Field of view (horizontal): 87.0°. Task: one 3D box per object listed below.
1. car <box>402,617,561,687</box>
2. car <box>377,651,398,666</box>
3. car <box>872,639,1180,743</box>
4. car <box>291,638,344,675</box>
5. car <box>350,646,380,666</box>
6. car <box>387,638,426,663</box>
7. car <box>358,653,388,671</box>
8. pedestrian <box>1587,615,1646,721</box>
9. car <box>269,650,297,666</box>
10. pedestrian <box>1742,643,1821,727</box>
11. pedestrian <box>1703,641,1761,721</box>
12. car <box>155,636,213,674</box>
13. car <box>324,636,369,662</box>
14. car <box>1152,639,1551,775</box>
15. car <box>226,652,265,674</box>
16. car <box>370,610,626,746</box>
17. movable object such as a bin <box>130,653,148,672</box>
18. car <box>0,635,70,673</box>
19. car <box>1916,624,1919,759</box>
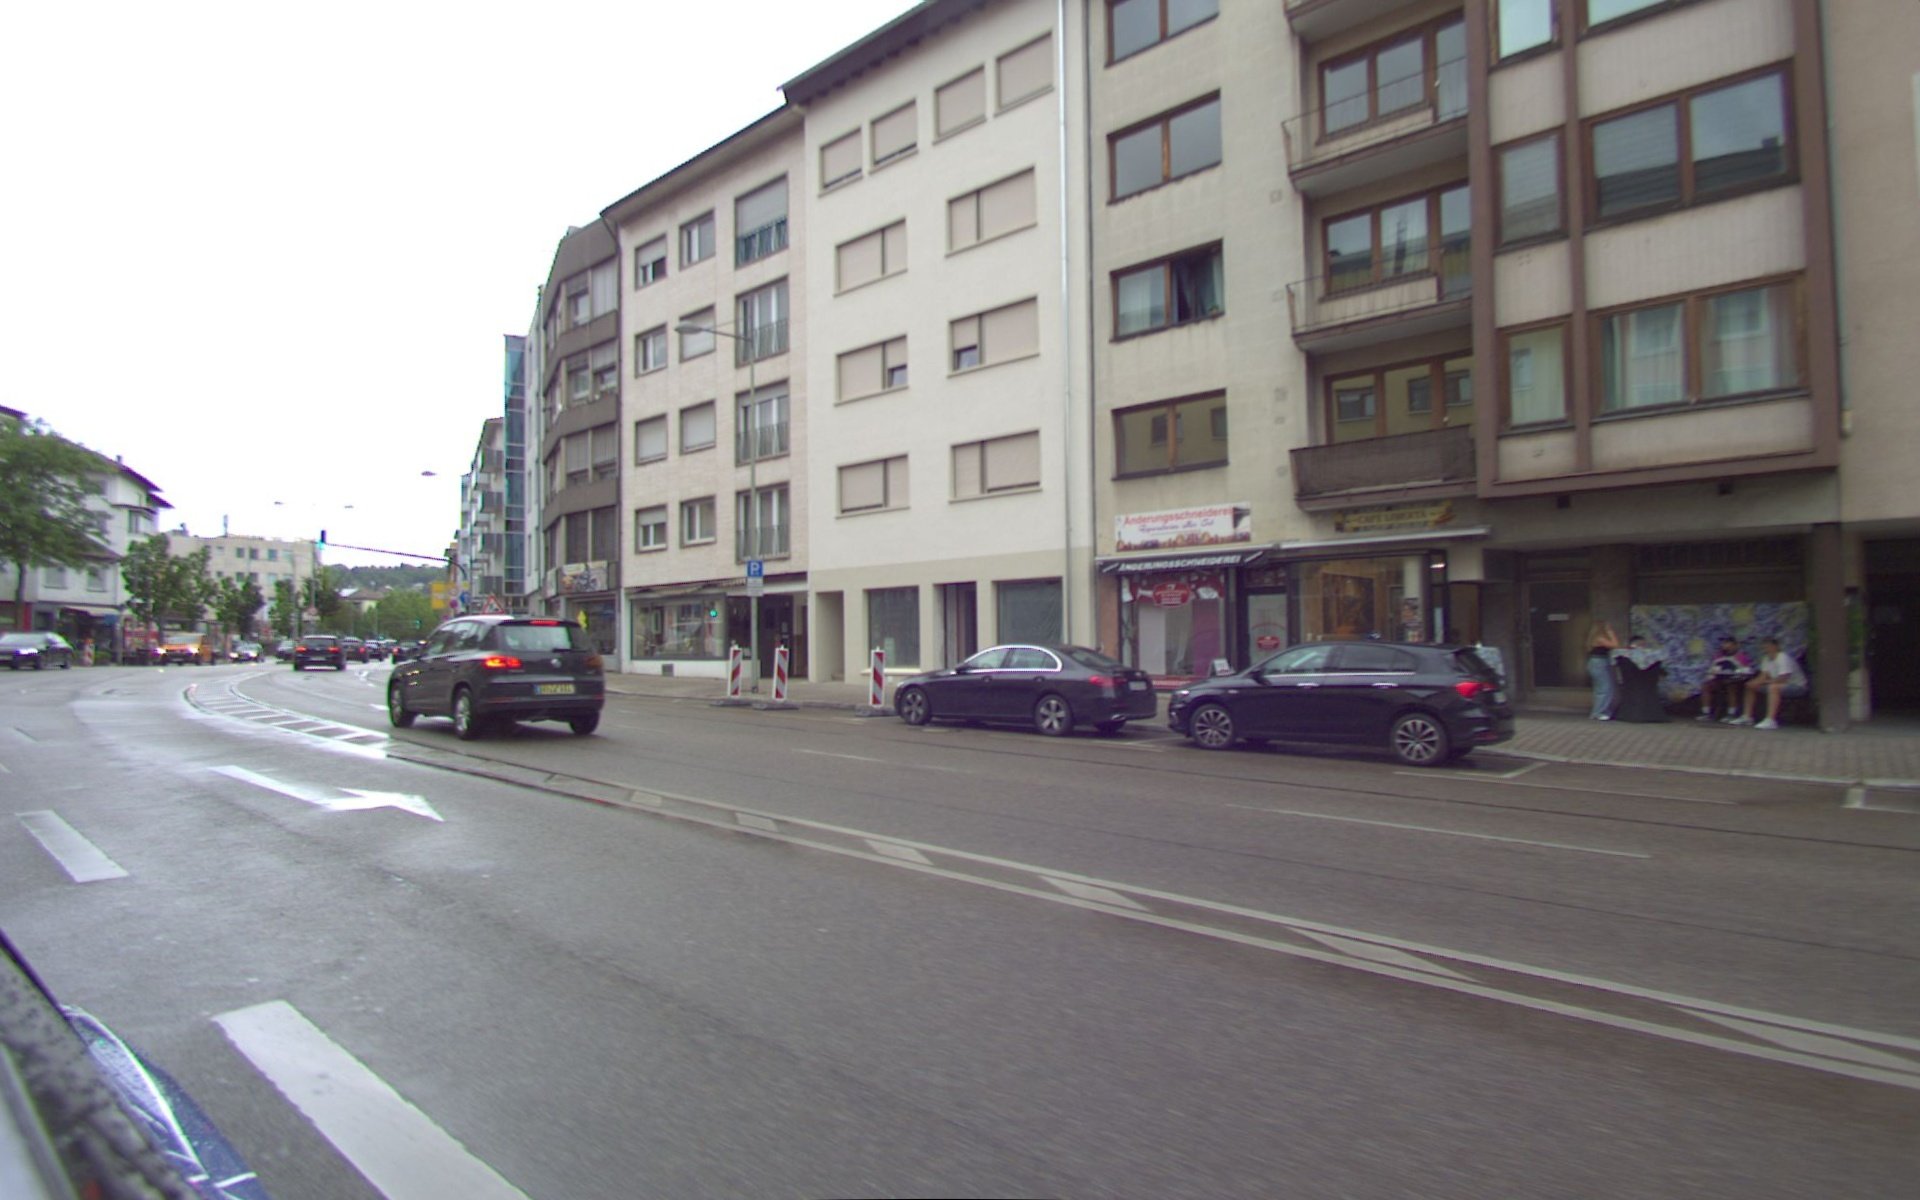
[{"bbox_3d":[-15.357,1.605,32.401,5.110,2.029,2.103,-1,0,31],"label":"car"},{"bbox_3d":[-61.285,6.271,108.380,1.804,1.555,4.297,2,-4,-27],"label":"car"},{"bbox_3d":[0.967,1.417,16.824,4.974,1.488,1.863,-2,-4,39],"label":"car"},{"bbox_3d":[-27.251,2.410,43.014,1.660,1.484,4.012,4,-5,-30],"label":"car"},{"bbox_3d":[-43.266,4.050,73.672,1.799,1.376,4.617,3,-3,-30],"label":"car"},{"bbox_3d":[-32.922,3.035,60.275,1.697,1.410,3.606,1,-4,-23],"label":"car"},{"bbox_3d":[-51.862,5.479,89.459,1.826,1.485,4.663,2,-3,-25],"label":"car"},{"bbox_3d":[10.090,1.027,15.569,0.666,1.595,0.539,-1,-2,28],"label":"pedestrian"},{"bbox_3d":[-64.239,5.528,96.092,1.783,1.352,4.013,-1,-1,-27],"label":"car"},{"bbox_3d":[11.749,1.193,14.474,0.663,1.157,0.597,0,-2,-21],"label":"pedestrian"},{"bbox_3d":[11.613,1.195,15.229,0.632,1.157,0.601,-2,-2,42],"label":"pedestrian"},{"bbox_3d":[-45.682,3.190,59.710,2.163,2.102,5.950,0,-2,-32],"label":"car"},{"bbox_3d":[-37.748,3.035,62.330,1.955,1.470,4.499,3,-4,-27],"label":"car"},{"bbox_3d":[5.004,1.268,13.295,4.513,1.488,1.974,-2,-3,39],"label":"car"},{"bbox_3d":[-53.018,4.648,75.160,1.813,1.453,4.012,-1,-1,-28],"label":"car"},{"bbox_3d":[-6.711,1.046,14.497,4.254,1.660,1.841,-2,-4,43],"label":"car"},{"bbox_3d":[-48.193,3.670,59.424,0.570,1.120,0.667,3,-5,-21],"label":"movable object such as a bin"},{"bbox_3d":[-35.534,2.072,38.299,1.782,1.350,4.291,2,-5,-28],"label":"car"},{"bbox_3d":[10.593,0.977,7.805,4.631,1.566,1.887,-2,-4,43],"label":"car"}]
